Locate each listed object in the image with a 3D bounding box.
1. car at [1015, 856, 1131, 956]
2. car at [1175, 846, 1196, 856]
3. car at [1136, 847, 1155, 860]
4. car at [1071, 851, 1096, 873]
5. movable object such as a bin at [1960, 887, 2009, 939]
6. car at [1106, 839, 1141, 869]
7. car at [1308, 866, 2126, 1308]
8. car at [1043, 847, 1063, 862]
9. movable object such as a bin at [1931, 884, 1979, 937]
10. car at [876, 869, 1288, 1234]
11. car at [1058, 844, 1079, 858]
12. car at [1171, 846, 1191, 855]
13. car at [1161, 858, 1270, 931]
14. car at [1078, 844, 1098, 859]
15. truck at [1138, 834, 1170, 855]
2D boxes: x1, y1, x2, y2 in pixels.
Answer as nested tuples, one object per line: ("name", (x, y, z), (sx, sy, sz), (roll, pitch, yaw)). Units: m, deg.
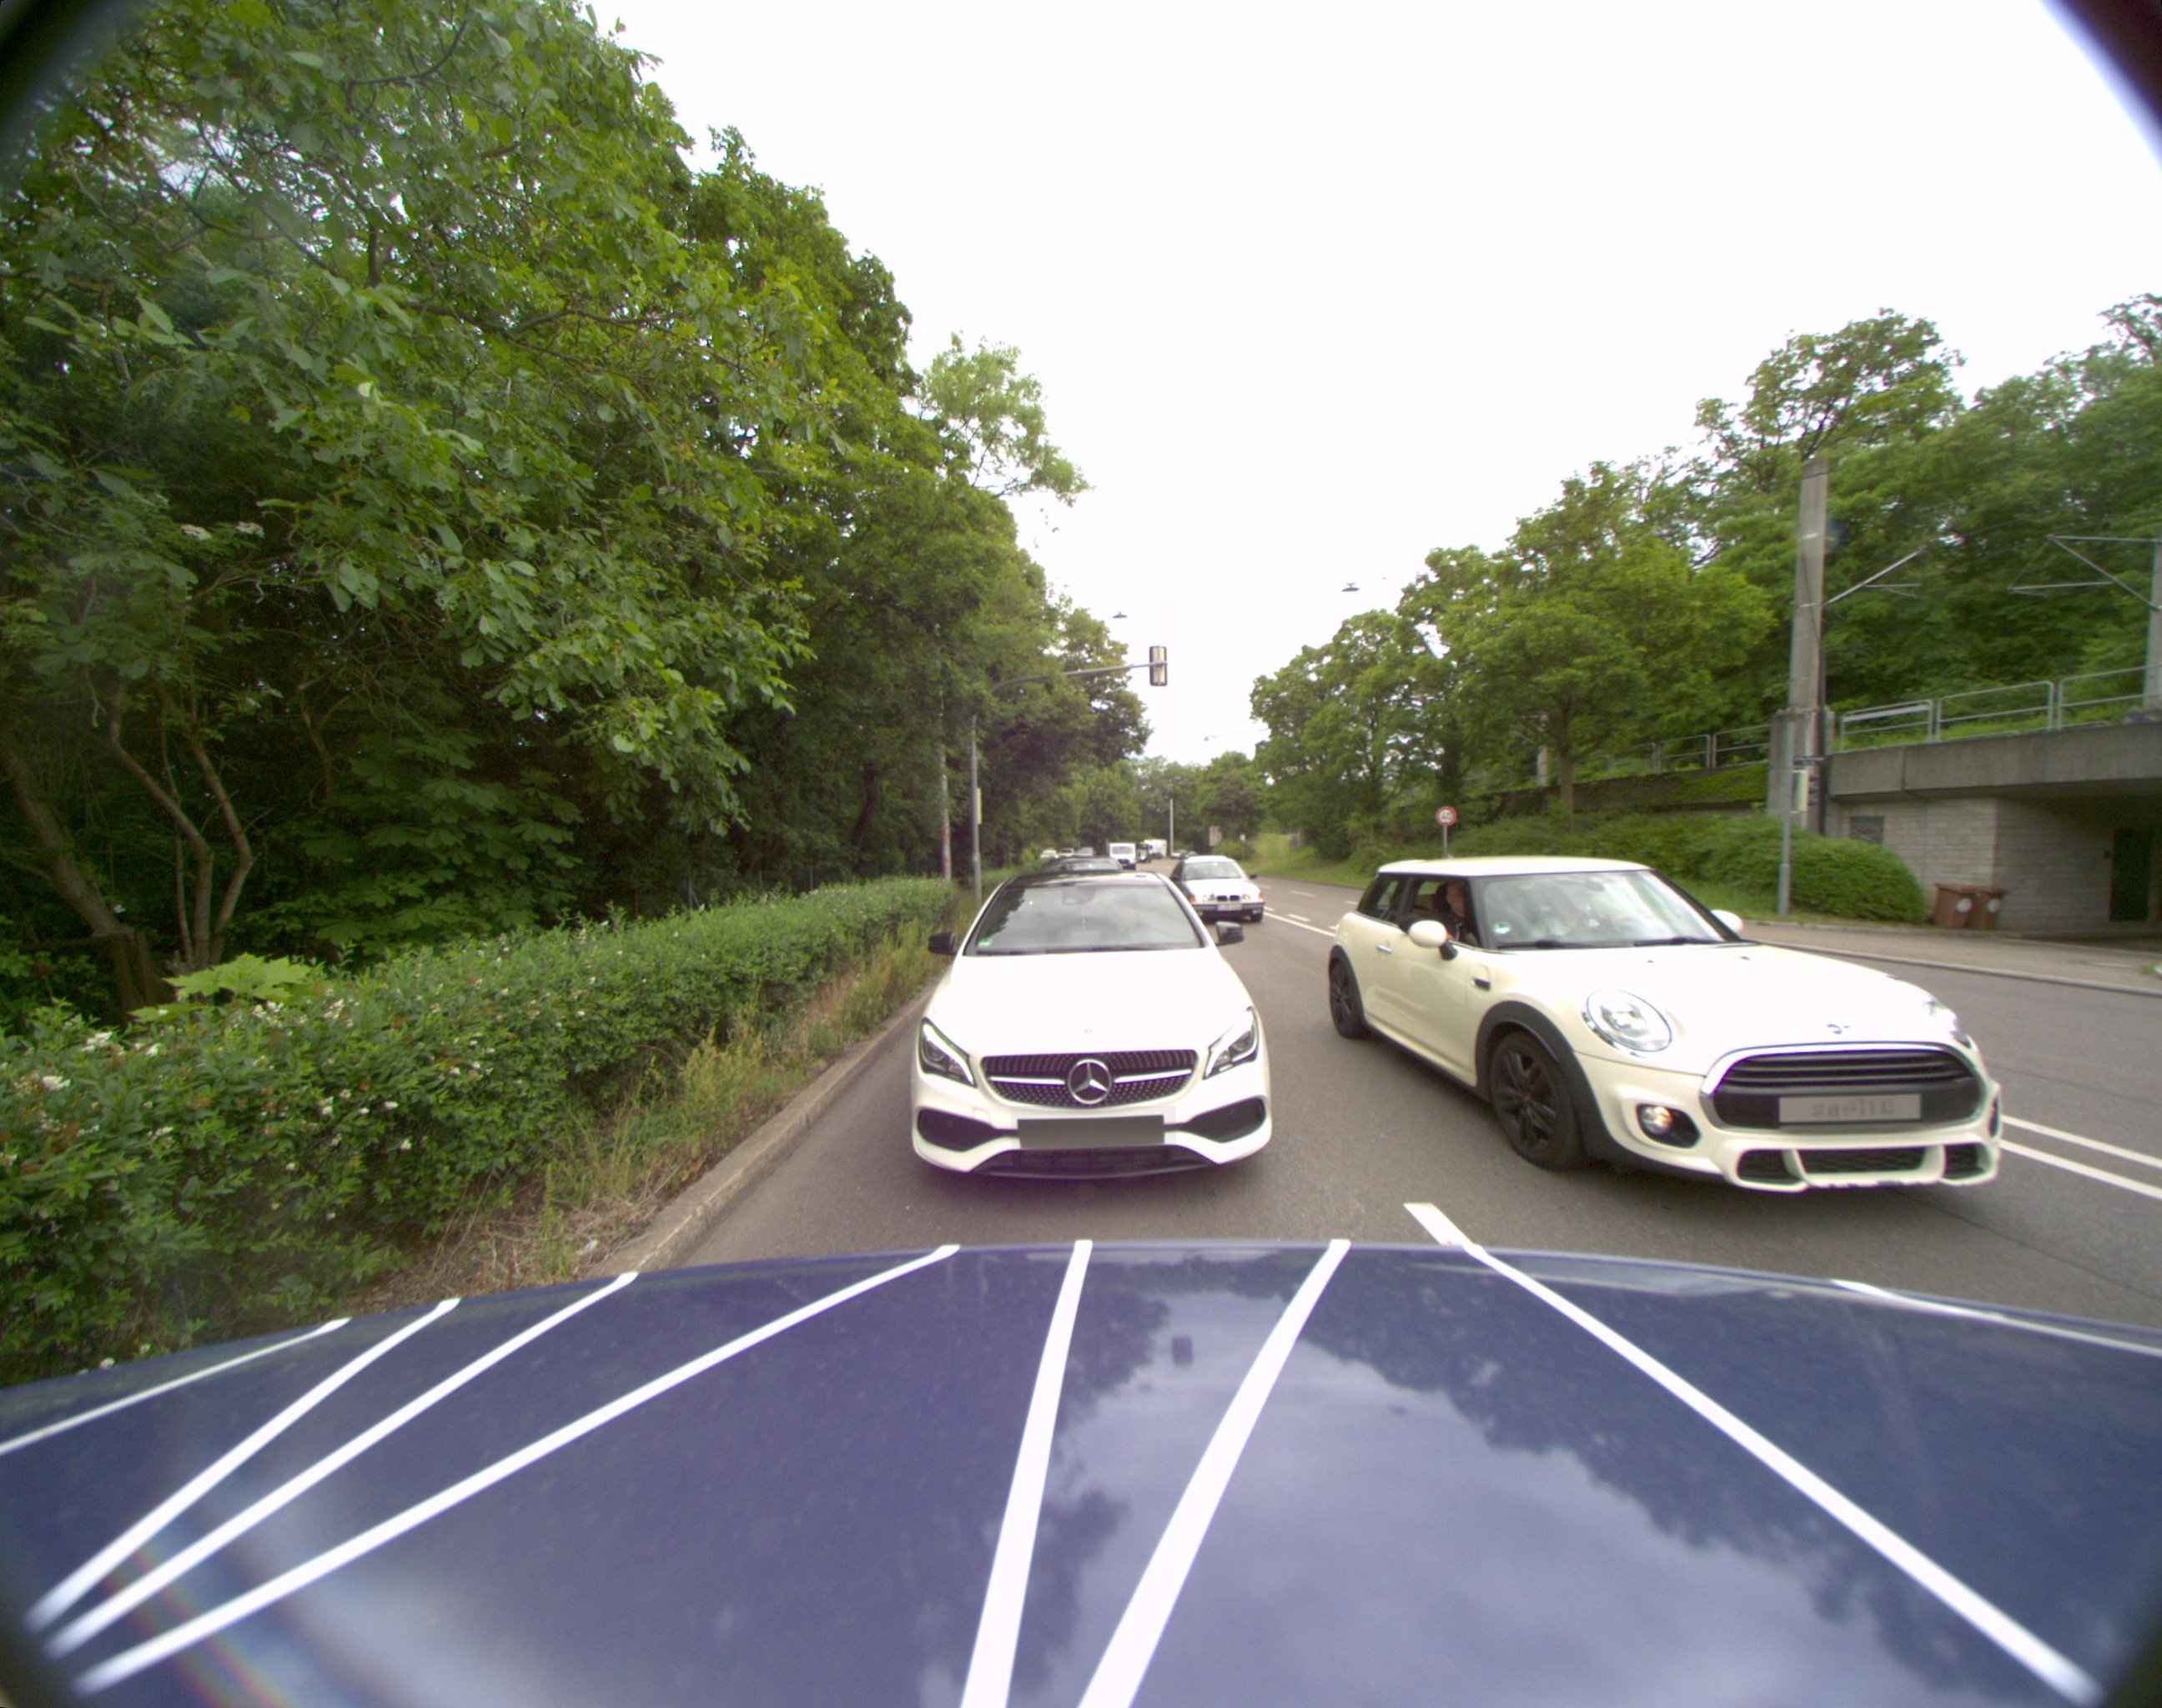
("car", (-0.133, 0.824, 13.897), (1.755, 1.417, 4.009), (3, 1, 0))
("car", (17.415, -0.506, 126.344), (1.850, 1.641, 4.366), (1, 1, 31))
("car", (8.376, -0.086, 98.780), (1.852, 1.641, 4.362), (1, 0, 13))
("car", (0.175, 0.555, 55.095), (1.765, 1.433, 3.891), (1, 0, 0))
("movable object such as a bin", (19.054, 1.228, 16.031), (0.419, 1.057, 0.503), (0, 1, -4))
("car", (3.223, -0.024, 59.112), (2.285, 2.187, 6.458), (-1, 0, 0))
("car", (2.788, 0.840, 4.511), (1.688, 1.415, 3.732), (-1, 0, -1))
("car", (-2.725, 0.012, 74.873), (1.765, 1.433, 3.891), (1, 0, 0))
("movable object such as a bin", (18.361, 1.180, 15.973), (0.419, 1.057, 0.503), (0, 1, -4))
("car", (0.031, 0.937, 5.434), (1.801, 1.470, 4.010), (-2, 0, 1))
("car", (-1.416, -0.326, 89.852), (1.754, 1.575, 4.013), (1, 0, 10))
("car", (17.147, -0.542, 130.611), (1.751, 1.354, 4.019), (4, 1, 34))
("car", (2.904, 0.814, 17.248), (1.664, 1.382, 4.182), (-1, 0, -1))
("car", (0.802, -0.261, 83.097), (1.754, 1.575, 4.012), (1, 0, 6))
("truck", (11.867, -1.494, 122.740), (2.195, 3.137, 6.665), (2, 1, 33))
